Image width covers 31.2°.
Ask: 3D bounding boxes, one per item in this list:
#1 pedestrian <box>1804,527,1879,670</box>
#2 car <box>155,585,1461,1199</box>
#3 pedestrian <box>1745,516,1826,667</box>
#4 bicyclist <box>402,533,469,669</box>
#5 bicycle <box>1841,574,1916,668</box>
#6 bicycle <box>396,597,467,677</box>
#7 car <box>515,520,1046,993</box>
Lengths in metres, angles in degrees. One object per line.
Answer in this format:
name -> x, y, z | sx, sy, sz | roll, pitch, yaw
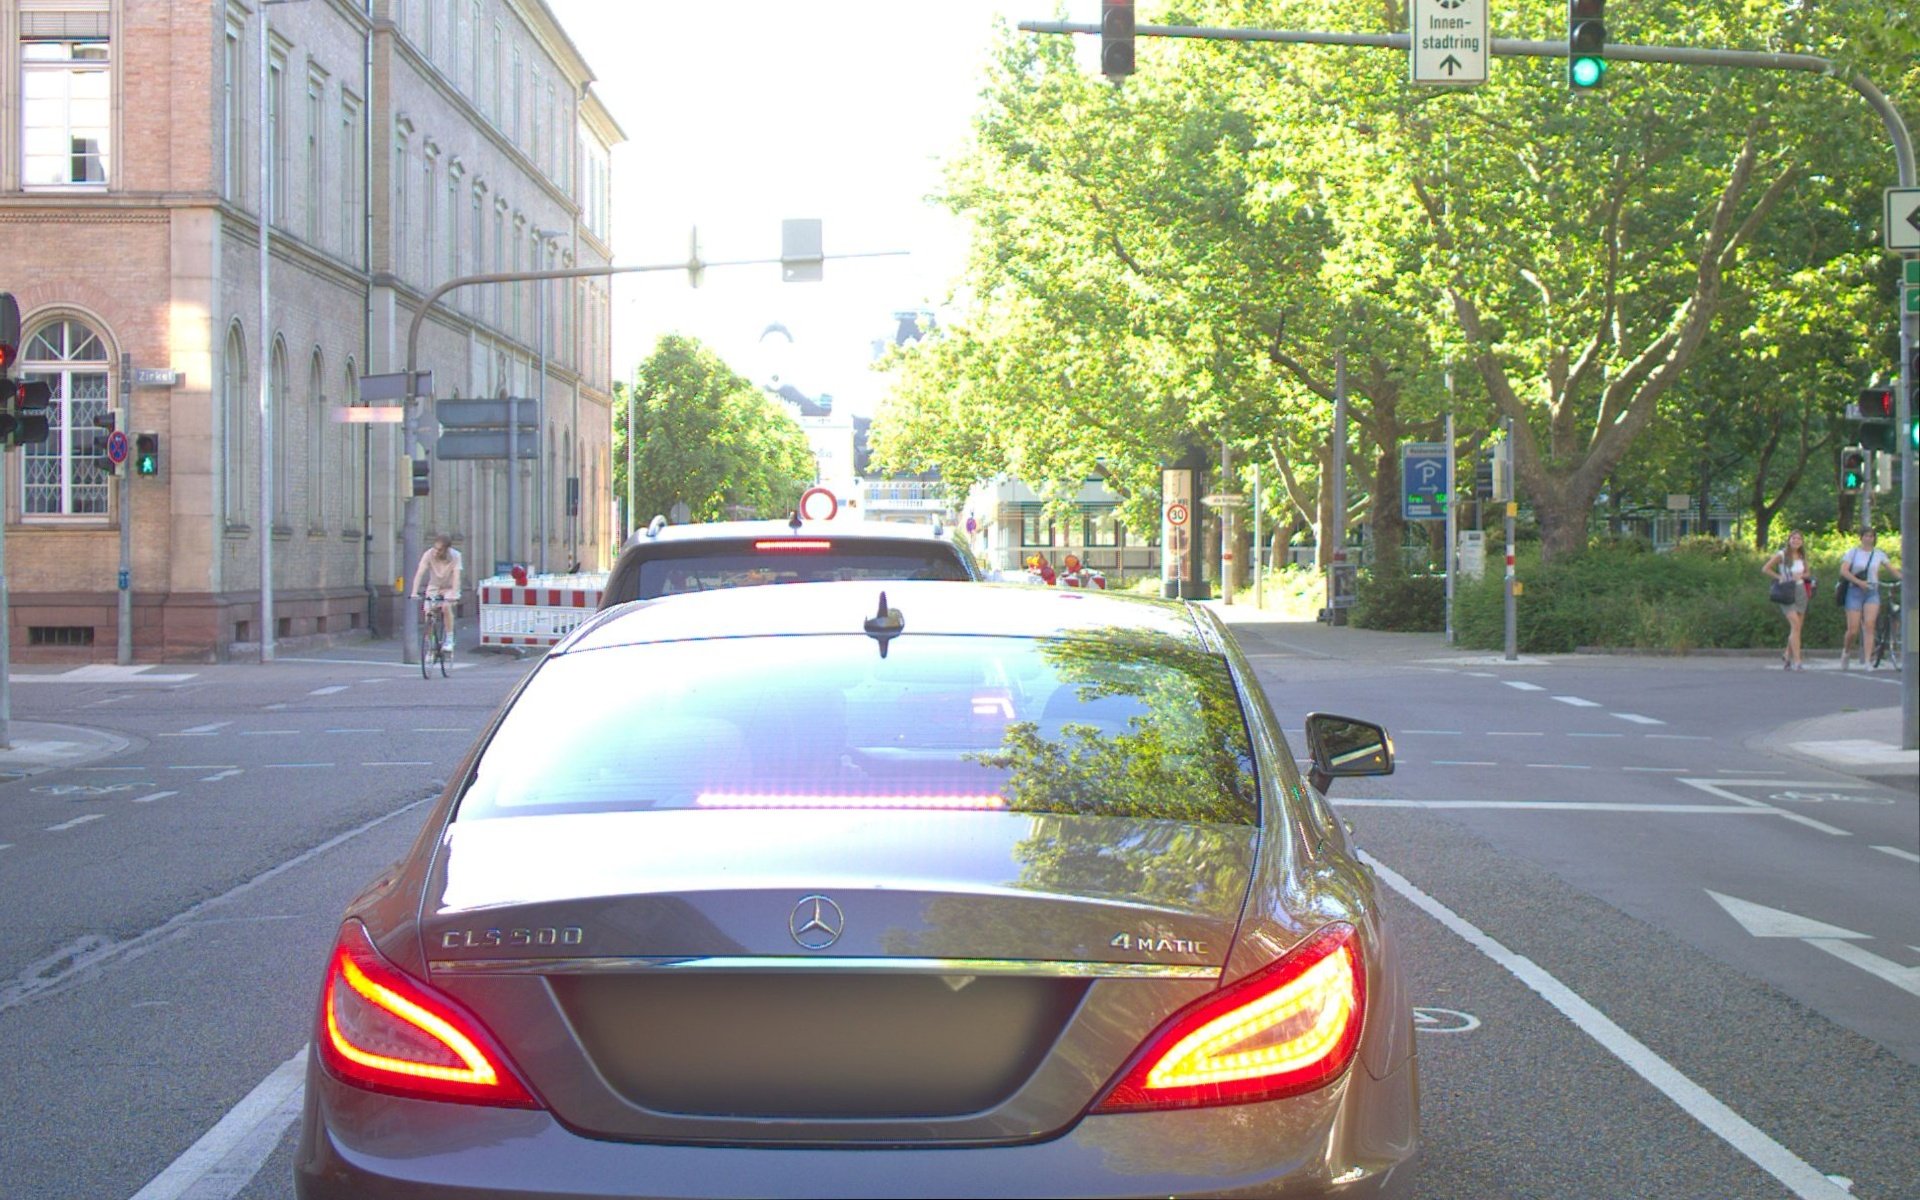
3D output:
pedestrian -> 10.632, -0.025, 41.497 | 0.683, 1.691, 0.970 | 1, 0, 3
car -> -0.030, 0.703, 7.092 | 1.843, 1.424, 4.516 | 1, 1, 5
pedestrian -> 9.994, -0.099, 41.623 | 0.732, 1.802, 0.909 | -1, -1, -1
bicyclist -> -6.065, 0.006, 39.784 | 0.648, 1.553, 0.807 | 1, 0, -1
bicycle -> 11.059, 0.243, 41.424 | 0.524, 1.096, 1.741 | 1, 1, 3
bicycle -> -6.093, 0.417, 39.714 | 0.548, 0.888, 1.868 | 1, 1, -1
car -> -0.578, 0.516, 13.732 | 1.809, 1.607, 4.000 | 0, 1, 1
